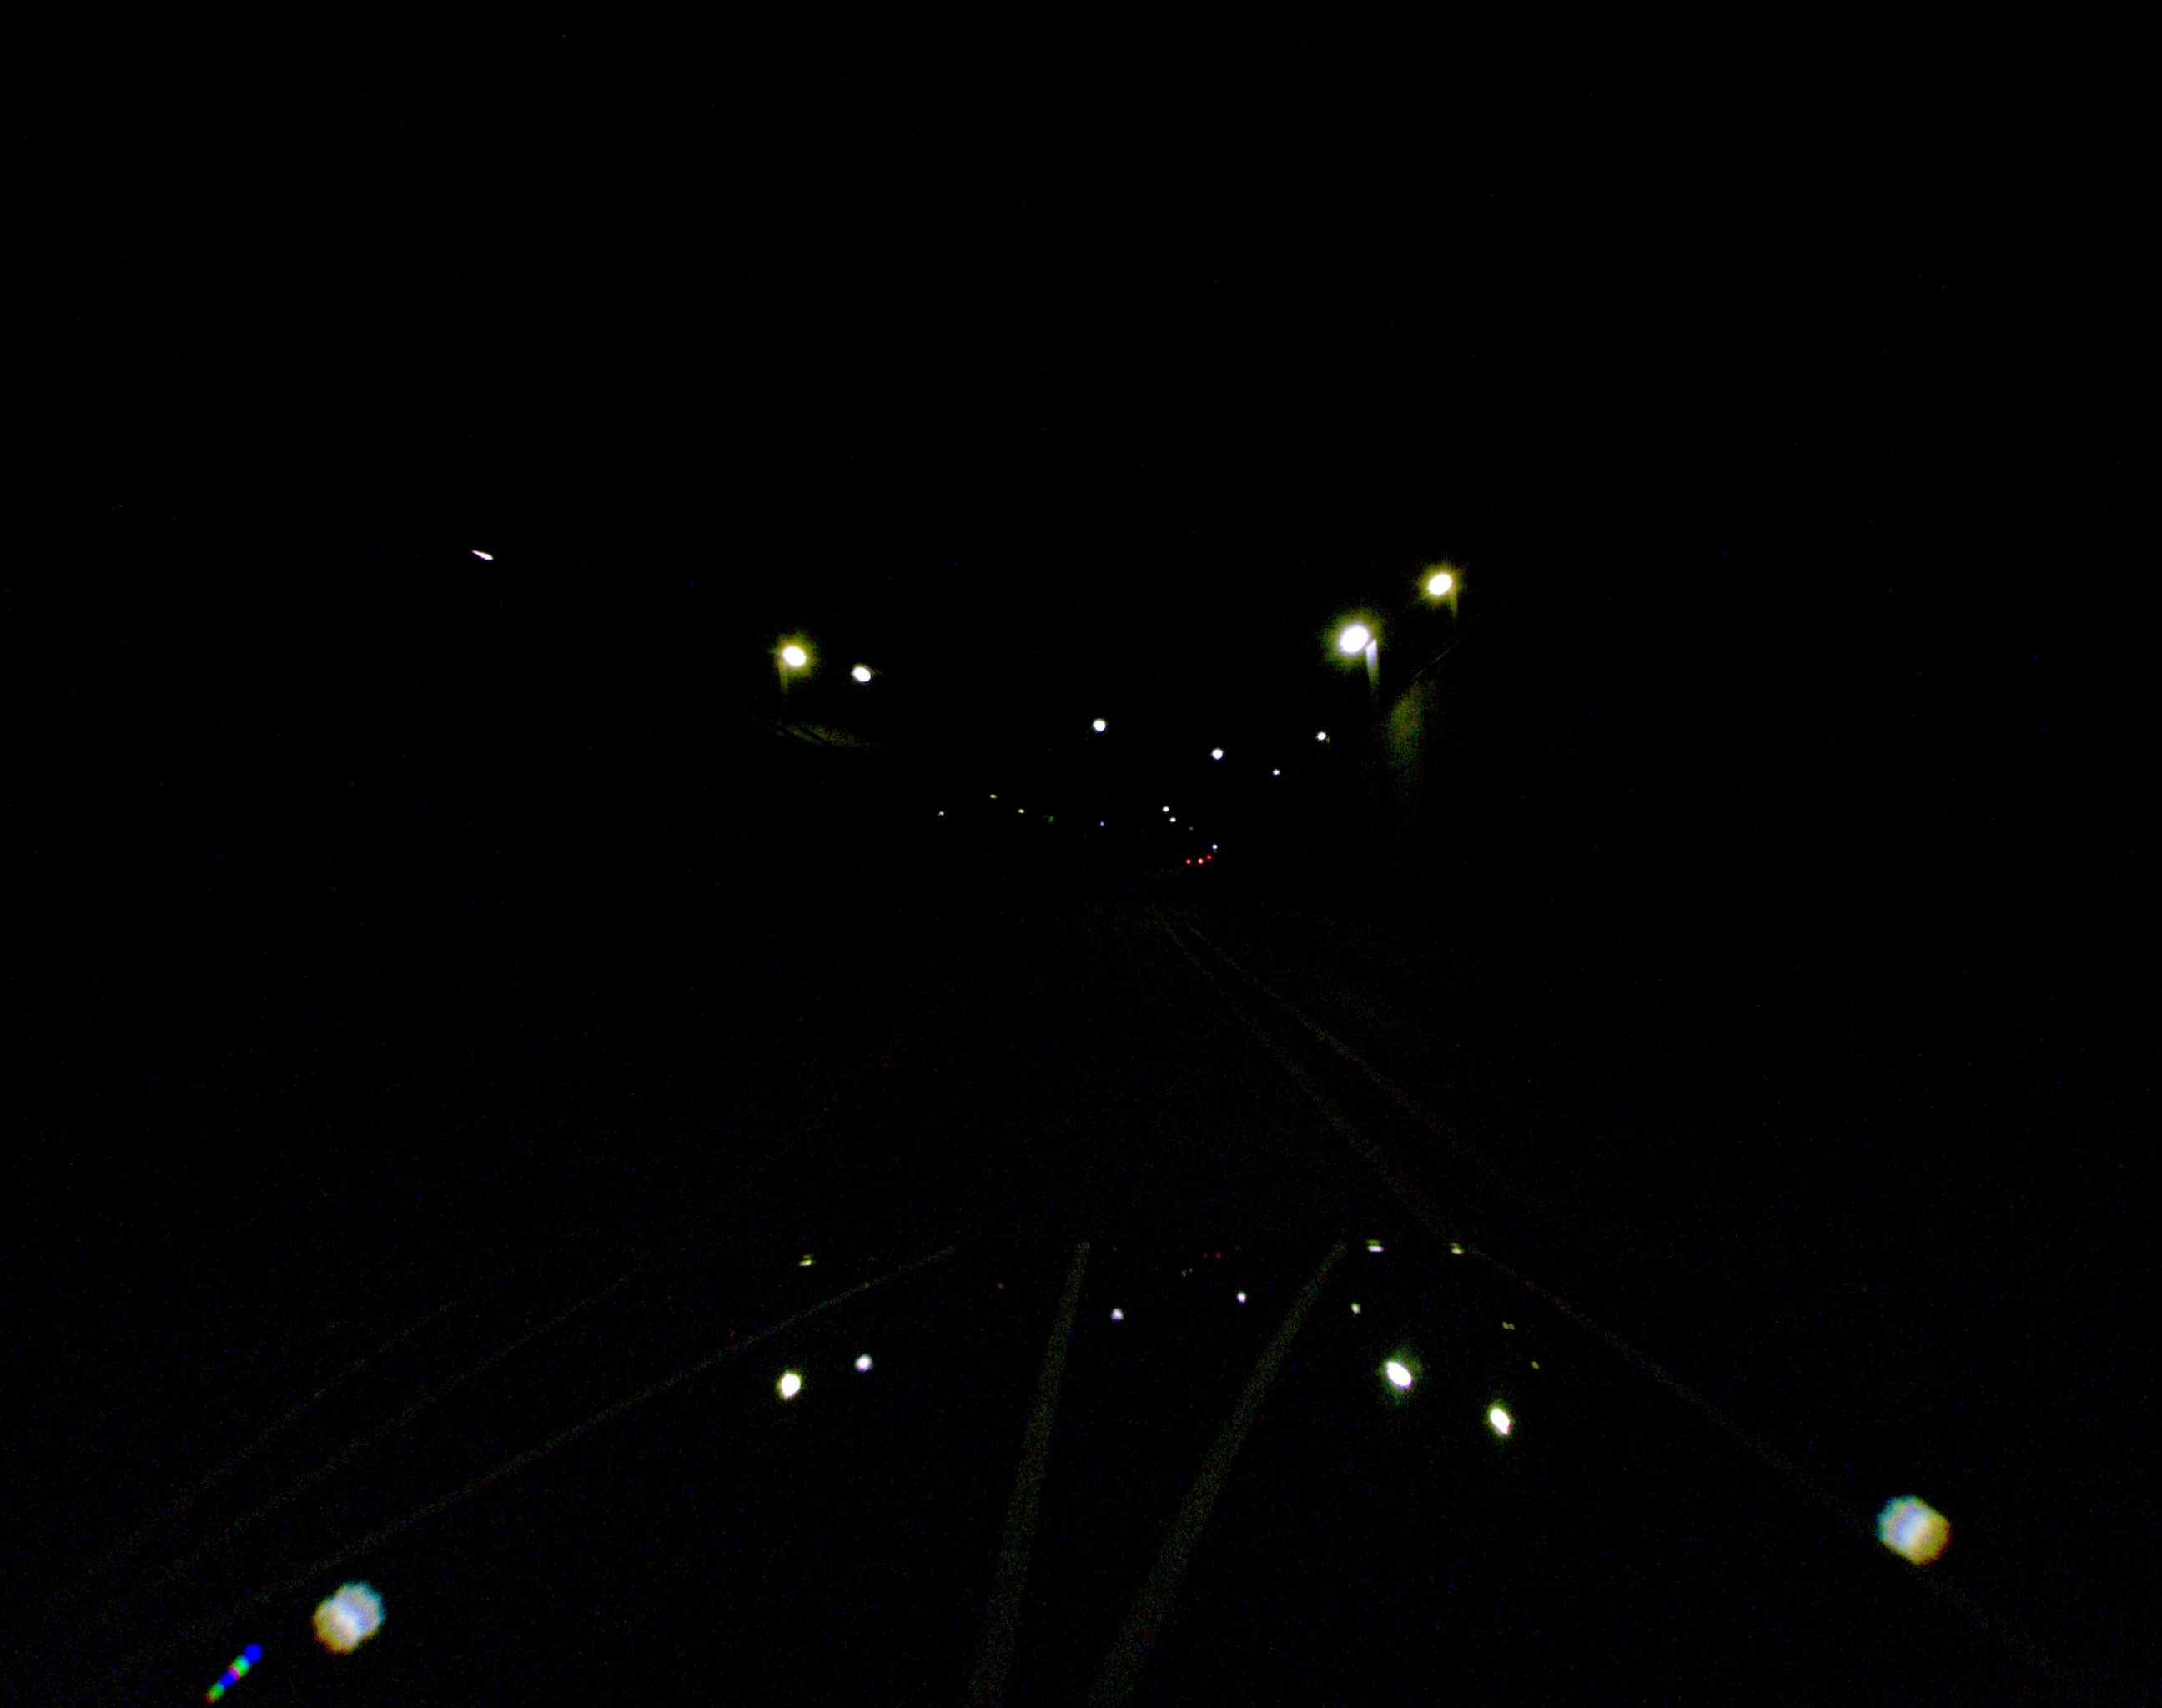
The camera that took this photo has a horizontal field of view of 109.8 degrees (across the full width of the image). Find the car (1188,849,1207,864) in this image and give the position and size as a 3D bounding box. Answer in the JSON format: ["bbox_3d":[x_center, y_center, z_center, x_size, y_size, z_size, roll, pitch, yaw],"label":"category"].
[{"bbox_3d":[12.907,0.226,83.914,1.862,1.501,4.003,-2,0,11],"label":"car"}]

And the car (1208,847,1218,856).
[{"bbox_3d":[26.657,-0.509,153.525,1.791,1.439,4.174,-4,1,10],"label":"car"}]

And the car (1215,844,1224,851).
[{"bbox_3d":[39.119,-1.856,214.648,1.884,1.545,4.222,-3,1,16],"label":"car"}]
